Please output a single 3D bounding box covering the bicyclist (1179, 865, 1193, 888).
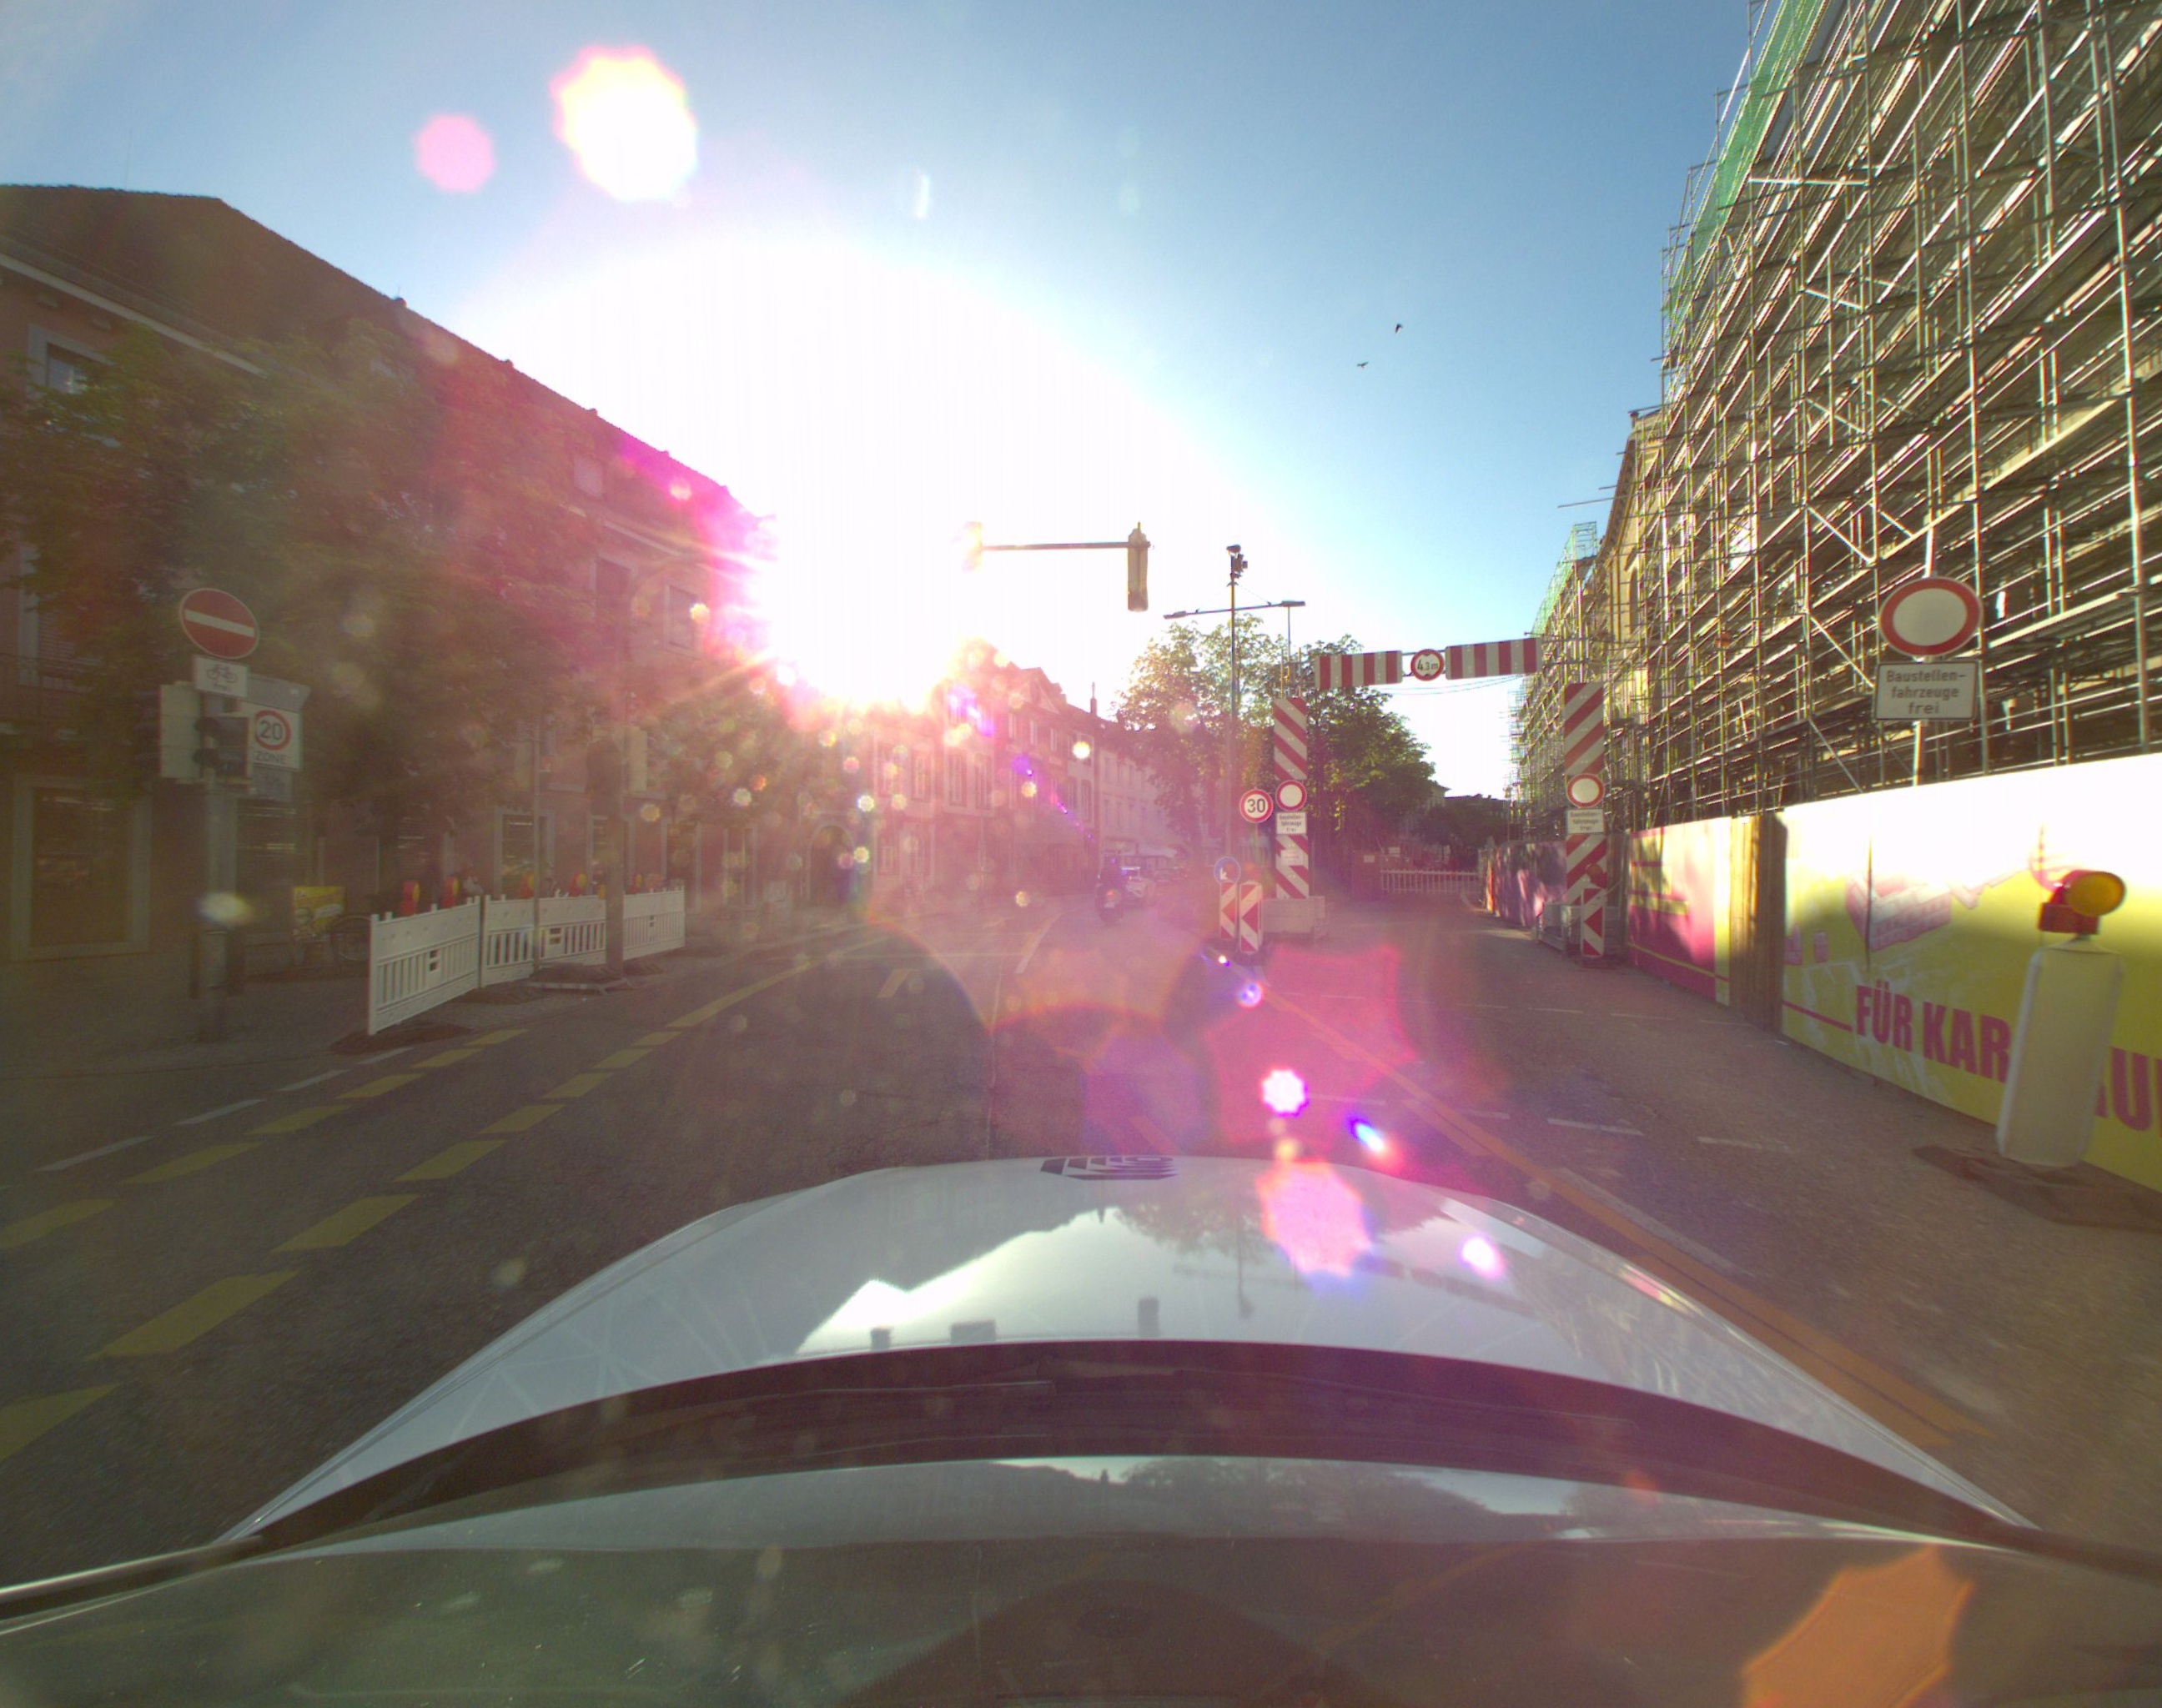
[{"bbox_3d":[7.435,1.584,57.809,0.737,1.583,0.800,0,-1,28],"label":"bicyclist"}]

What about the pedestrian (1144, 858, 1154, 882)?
[{"bbox_3d":[5.079,1.208,60.604,0.433,1.775,0.601,-2,-2,38],"label":"pedestrian"}]

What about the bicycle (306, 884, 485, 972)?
[{"bbox_3d":[-10.581,1.115,12.671,2.008,1.206,0.678,-1,-2,-25],"label":"bicycle"}]

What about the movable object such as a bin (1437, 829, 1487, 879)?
[{"bbox_3d":[37.495,0.063,80.025,3.275,4.540,7.954,-2,-2,33],"label":"movable object such as a bin"}]

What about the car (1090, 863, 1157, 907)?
[{"bbox_3d":[1.610,1.060,29.591,1.838,1.480,4.070,0,-1,12],"label":"car"}]

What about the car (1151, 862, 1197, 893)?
[{"bbox_3d":[4.706,1.130,40.899,1.827,1.464,4.072,0,-1,13],"label":"car"}]

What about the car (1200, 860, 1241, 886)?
[{"bbox_3d":[9.692,1.268,56.251,1.823,1.713,4.080,0,-1,25],"label":"car"}]

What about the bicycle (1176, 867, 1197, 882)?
[{"bbox_3d":[7.516,1.451,57.951,0.764,1.063,2.090,-1,-1,29],"label":"bicycle"}]

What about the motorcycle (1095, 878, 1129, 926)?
[{"bbox_3d":[0.745,1.133,19.514,0.793,1.066,1.726,0,-1,2],"label":"motorcycle"}]

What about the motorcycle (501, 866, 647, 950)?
[{"bbox_3d":[-8.718,0.876,14.159,0.807,1.317,2.342,-1,-1,9],"label":"motorcycle"}]

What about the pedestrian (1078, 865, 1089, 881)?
[{"bbox_3d":[0.154,1.198,51.579,0.532,1.053,0.554,0,-1,20],"label":"pedestrian"}]

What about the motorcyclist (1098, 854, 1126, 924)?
[{"bbox_3d":[0.744,0.833,19.688,0.655,1.651,0.651,0,-1,2],"label":"motorcyclist"}]

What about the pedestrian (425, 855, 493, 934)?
[{"bbox_3d":[-13.719,0.872,17.978,0.784,1.689,0.873,0,-1,22],"label":"pedestrian"}]
